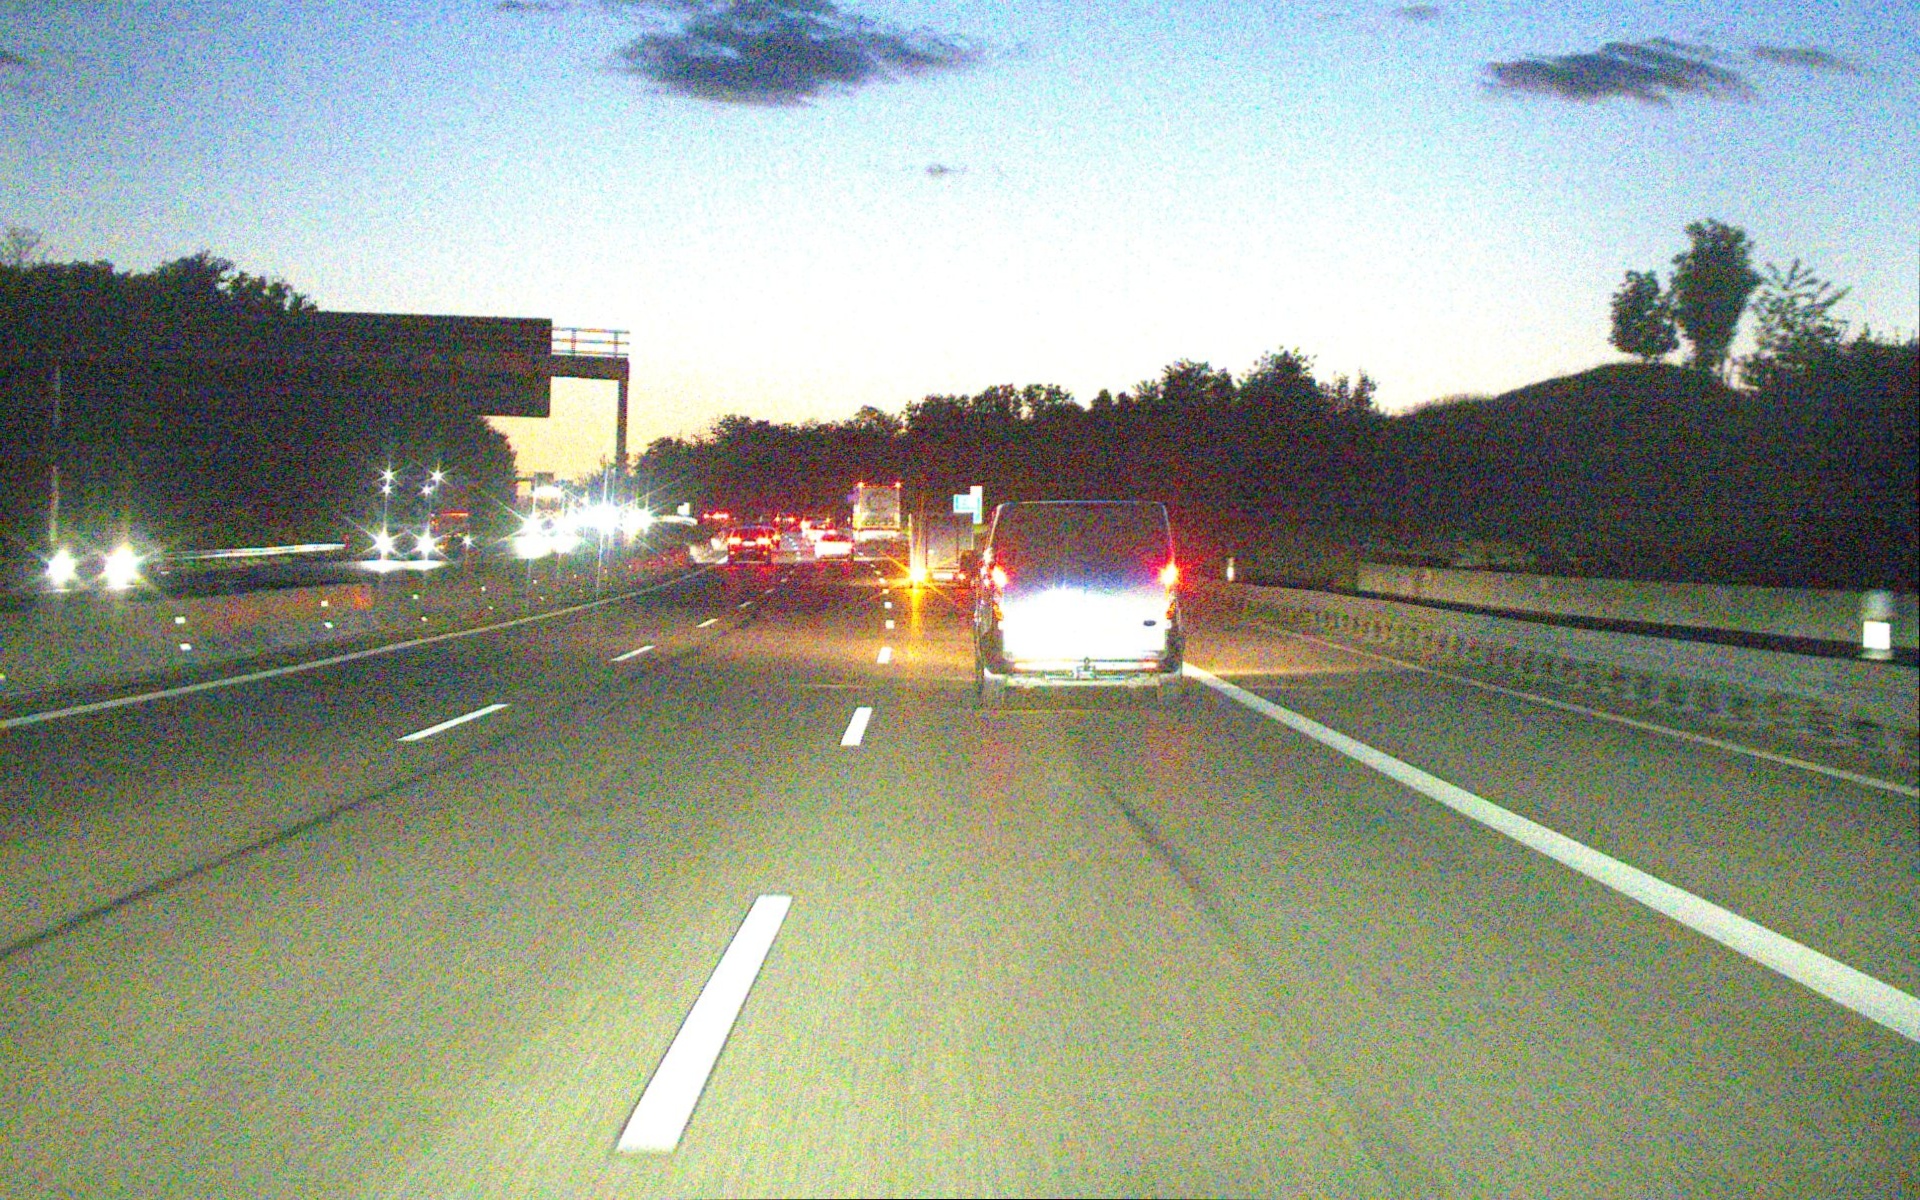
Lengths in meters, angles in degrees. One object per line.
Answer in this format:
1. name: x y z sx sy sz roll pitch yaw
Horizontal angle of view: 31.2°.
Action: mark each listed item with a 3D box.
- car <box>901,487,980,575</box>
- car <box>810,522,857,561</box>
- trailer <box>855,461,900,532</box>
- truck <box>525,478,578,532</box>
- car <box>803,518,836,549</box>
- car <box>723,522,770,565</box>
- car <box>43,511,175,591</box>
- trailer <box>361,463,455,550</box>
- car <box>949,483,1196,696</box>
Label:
1. car: -0.644 -2.162 106.950 2.032 2.638 5.726 0 1 -4
2. car: -6.071 -2.787 164.831 1.993 1.788 4.001 0 0 -6
3. trailer: -5.618 -6.934 232.541 2.829 4.242 17.050 0 0 -2
4. truck: -30.058 -6.980 253.306 3.429 3.966 6.208 0 1 -3
5. car: -8.655 -4.083 211.577 1.993 1.788 4.000 0 0 -2
6. car: -9.535 -2.515 153.830 1.993 1.810 4.000 0 0 -2
7. car: -18.821 -1.057 76.209 1.822 1.688 4.673 0 0 -1
8. trailer: -25.905 -4.374 161.724 3.430 3.966 7.353 0 1 -2
9. car: 1.049 -0.161 35.113 2.115 1.994 5.665 0 1 -2
